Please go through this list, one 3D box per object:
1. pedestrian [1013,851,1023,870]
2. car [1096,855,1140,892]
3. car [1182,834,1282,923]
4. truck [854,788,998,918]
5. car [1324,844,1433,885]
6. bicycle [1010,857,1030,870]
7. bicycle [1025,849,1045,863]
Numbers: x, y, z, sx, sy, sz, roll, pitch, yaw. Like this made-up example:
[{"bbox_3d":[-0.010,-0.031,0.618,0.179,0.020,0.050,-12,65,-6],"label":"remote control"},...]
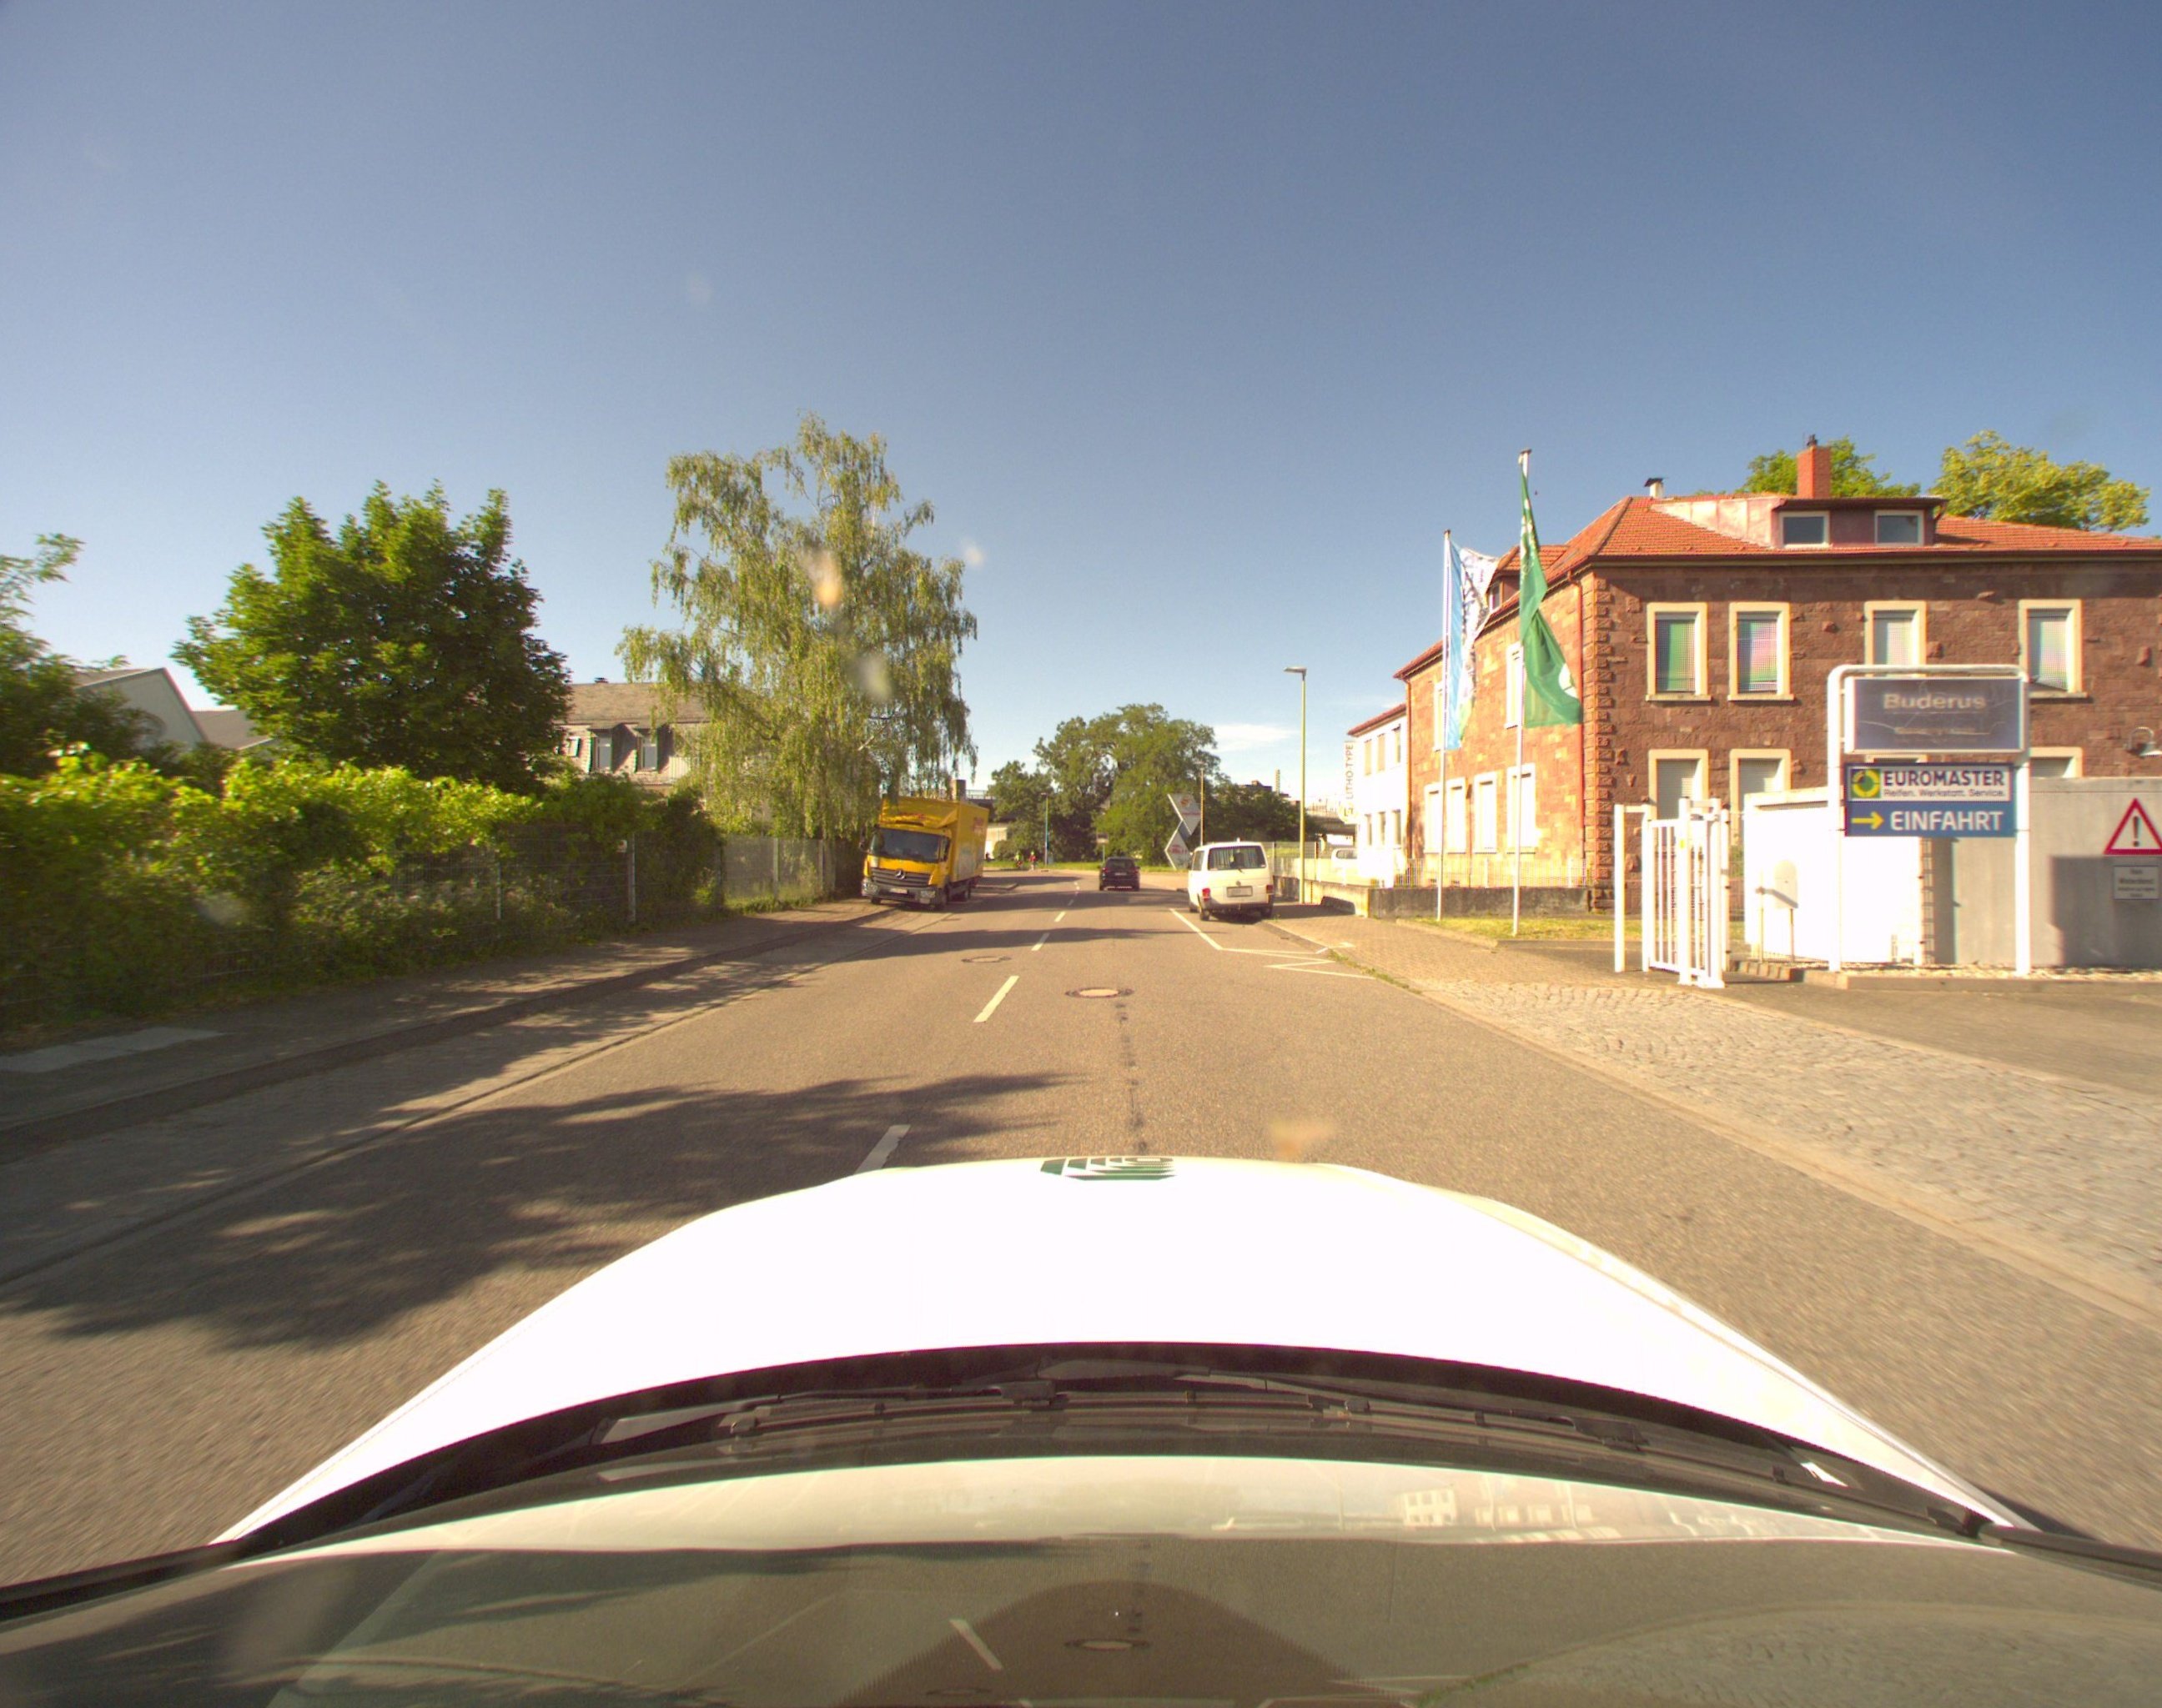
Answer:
[{"bbox_3d":[-5.970,0.626,77.063,0.661,1.835,0.785,2,-1,-35],"label":"pedestrian"},{"bbox_3d":[1.660,0.823,36.243,1.840,1.530,4.003,-1,0,3],"label":"car"},{"bbox_3d":[3.851,0.592,21.593,1.867,2.014,5.163,1,0,2],"label":"car"},{"bbox_3d":[-4.928,-0.106,27.913,2.621,3.504,8.662,6,1,2],"label":"truck"},{"bbox_3d":[15.485,0.525,42.614,1.890,2.013,5.099,-1,0,-41],"label":"car"},{"bbox_3d":[-5.798,0.871,77.180,0.810,1.221,2.233,2,-1,-37],"label":"bicycle"},{"bbox_3d":[-4.162,0.150,73.907,0.809,1.268,2.235,2,-1,-33],"label":"bicycle"}]
